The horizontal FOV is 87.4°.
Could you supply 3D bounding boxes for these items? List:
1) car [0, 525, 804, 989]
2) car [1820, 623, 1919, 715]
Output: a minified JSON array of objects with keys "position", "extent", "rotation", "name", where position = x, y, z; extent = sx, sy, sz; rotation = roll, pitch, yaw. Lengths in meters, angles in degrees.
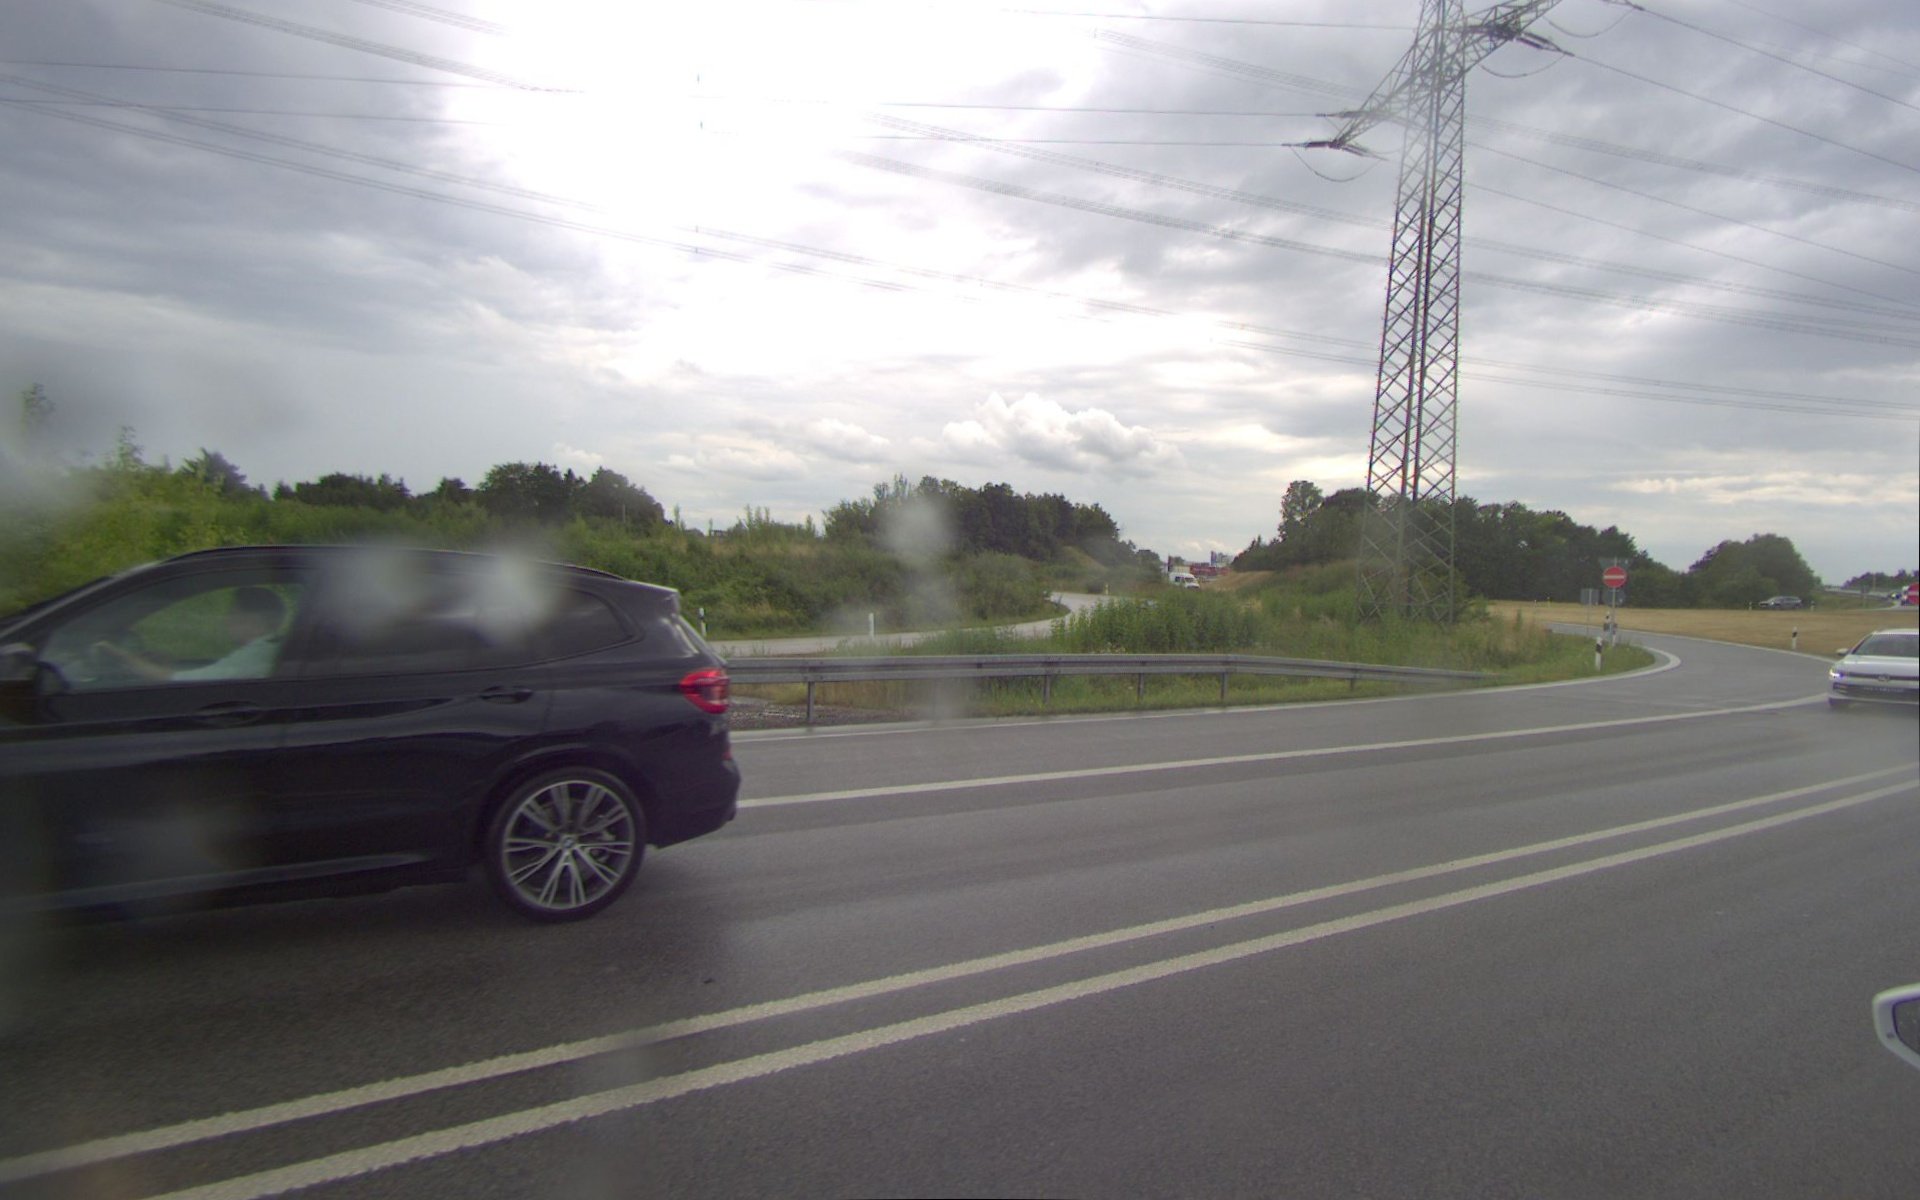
[{"position":[-3.053,0.576,4.700],"extent":[4.215,1.595,1.789],"rotation":[3,-1,-34],"name":"car"},{"position":[17.688,1.255,18.482],"extent":[4.564,1.499,1.694],"rotation":[3,0,-34],"name":"car"}]
